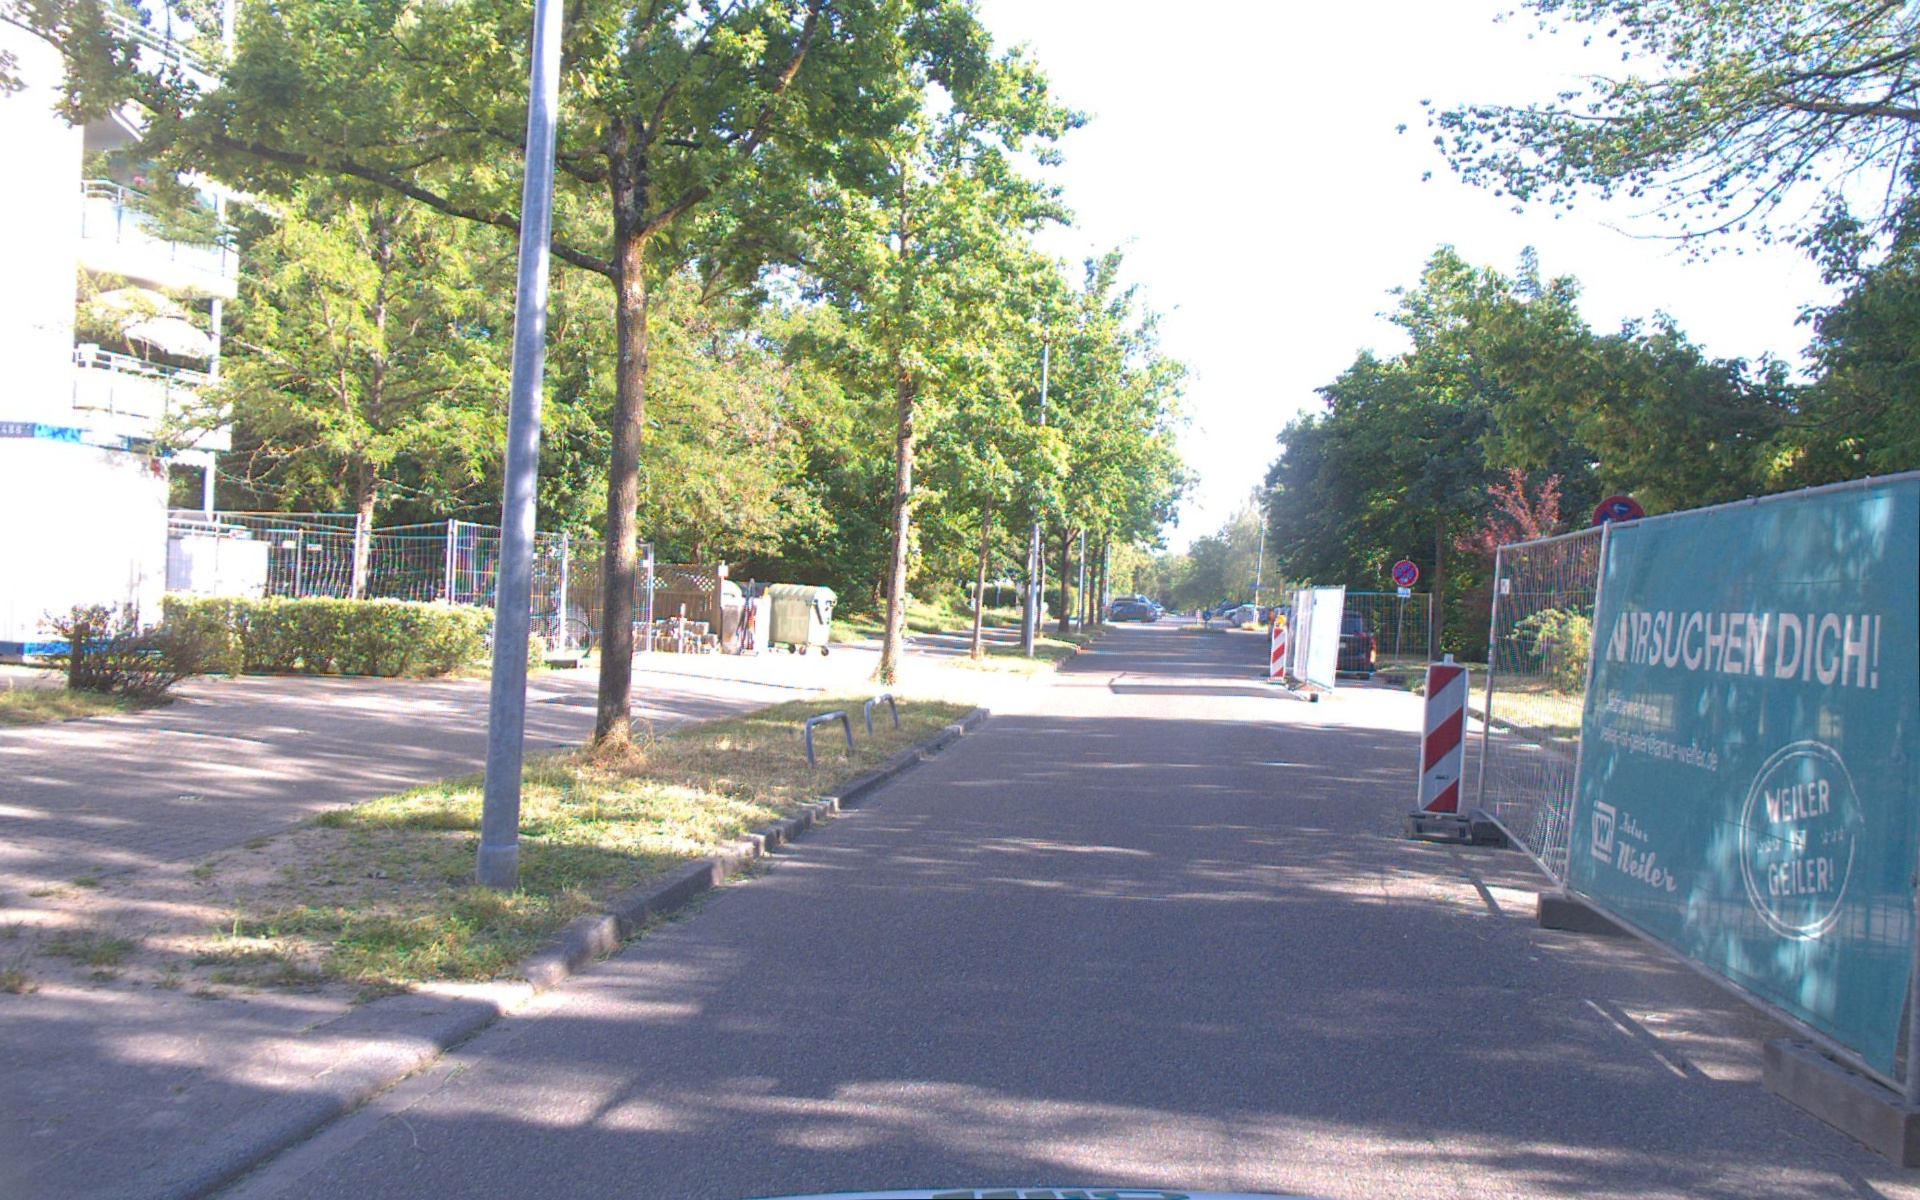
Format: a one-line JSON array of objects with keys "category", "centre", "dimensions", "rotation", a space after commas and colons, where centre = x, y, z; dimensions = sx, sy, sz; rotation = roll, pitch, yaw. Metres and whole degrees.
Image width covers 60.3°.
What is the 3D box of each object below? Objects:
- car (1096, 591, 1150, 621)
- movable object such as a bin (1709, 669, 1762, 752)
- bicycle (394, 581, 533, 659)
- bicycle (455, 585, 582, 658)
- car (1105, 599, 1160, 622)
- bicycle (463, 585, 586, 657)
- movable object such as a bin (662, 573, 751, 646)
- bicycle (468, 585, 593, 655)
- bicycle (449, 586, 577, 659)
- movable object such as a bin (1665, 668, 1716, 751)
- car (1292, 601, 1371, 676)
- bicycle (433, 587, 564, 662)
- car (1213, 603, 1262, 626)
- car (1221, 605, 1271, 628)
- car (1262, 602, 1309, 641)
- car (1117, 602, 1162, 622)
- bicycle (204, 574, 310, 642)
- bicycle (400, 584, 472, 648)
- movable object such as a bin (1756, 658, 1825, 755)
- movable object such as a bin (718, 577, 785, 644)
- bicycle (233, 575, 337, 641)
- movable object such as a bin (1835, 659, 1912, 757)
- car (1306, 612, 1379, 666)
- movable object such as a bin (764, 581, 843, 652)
[{"category": "car", "centre": [16.173, 0.589, 164.242], "dimensions": [5.092, 2.666, 2.294], "rotation": [4, 0, 3]}, {"category": "movable object such as a bin", "centre": [8.594, 1.214, 18.338], "dimensions": [0.404, 0.885, 0.484], "rotation": [1, -1, 8]}, {"category": "bicycle", "centre": [-7.214, 0.289, 24.071], "dimensions": [1.832, 1.045, 0.400], "rotation": [3, -1, -5]}, {"category": "bicycle", "centre": [-6.913, 0.338, 25.935], "dimensions": [1.823, 1.045, 0.400], "rotation": [3, -1, -5]}, {"category": "car", "centre": [14.492, 0.913, 138.958], "dimensions": [4.228, 1.604, 2.047], "rotation": [4, 0, 15]}, {"category": "bicycle", "centre": [-6.928, 0.337, 26.364], "dimensions": [1.802, 1.045, 0.400], "rotation": [3, -1, -5]}, {"category": "movable object such as a bin", "centre": [-5.302, 0.202, 34.651], "dimensions": [1.248, 1.460, 1.321], "rotation": [2, 0, 36]}, {"category": "bicycle", "centre": [-6.960, 0.328, 26.838], "dimensions": [1.877, 1.045, 0.400], "rotation": [3, -1, -5]}, {"category": "bicycle", "centre": [-6.870, 0.347, 25.452], "dimensions": [1.802, 1.045, 0.400], "rotation": [3, -1, -5]}, {"category": "movable object such as a bin", "centre": [8.117, 1.208, 18.391], "dimensions": [0.404, 0.885, 0.484], "rotation": [1, -1, 8]}, {"category": "car", "centre": [9.459, 0.953, 42.315], "dimensions": [1.772, 1.679, 4.424], "rotation": [4, 0, 12]}, {"category": "bicycle", "centre": [-6.960, 0.365, 24.986], "dimensions": [1.819, 1.045, 0.400], "rotation": [3, -1, -5]}, {"category": "car", "centre": [22.804, 1.229, 136.079], "dimensions": [3.758, 1.604, 1.689], "rotation": [4, 0, 14]}, {"category": "car", "centre": [23.059, 1.312, 133.189], "dimensions": [3.758, 1.604, 1.689], "rotation": [4, 0, 14]}, {"category": "car", "centre": [16.539, 1.052, 84.180], "dimensions": [1.753, 1.816, 4.559], "rotation": [4, 0, 5]}, {"category": "car", "centre": [16.850, 1.102, 155.104], "dimensions": [4.020, 1.604, 1.960], "rotation": [4, 0, 10]}, {"category": "bicycle", "centre": [-11.637, 0.128, 27.379], "dimensions": [1.659, 1.045, 0.401], "rotation": [2, -1, 13]}, {"category": "bicycle", "centre": [-8.882, 0.280, 28.087], "dimensions": [0.391, 1.045, 1.702], "rotation": [2, -1, 10]}, {"category": "movable object such as a bin", "centre": [9.071, 1.153, 18.082], "dimensions": [0.507, 1.017, 0.609], "rotation": [1, -1, 8]}, {"category": "movable object such as a bin", "centre": [-4.719, 0.236, 37.452], "dimensions": [1.127, 1.460, 1.263], "rotation": [2, 0, -26]}, {"category": "bicycle", "centre": [-11.441, 0.137, 28.035], "dimensions": [1.659, 1.045, 0.401], "rotation": [2, -1, 13]}, {"category": "movable object such as a bin", "centre": [9.889, 1.162, 17.922], "dimensions": [0.550, 1.017, 0.609], "rotation": [1, -1, 8]}, {"category": "car", "centre": [11.237, 1.114, 48.799], "dimensions": [1.626, 1.399, 4.158], "rotation": [4, 0, 7]}, {"category": "movable object such as a bin", "centre": [-3.359, 0.352, 35.601], "dimensions": [1.244, 1.460, 1.181], "rotation": [2, 0, 24]}]
